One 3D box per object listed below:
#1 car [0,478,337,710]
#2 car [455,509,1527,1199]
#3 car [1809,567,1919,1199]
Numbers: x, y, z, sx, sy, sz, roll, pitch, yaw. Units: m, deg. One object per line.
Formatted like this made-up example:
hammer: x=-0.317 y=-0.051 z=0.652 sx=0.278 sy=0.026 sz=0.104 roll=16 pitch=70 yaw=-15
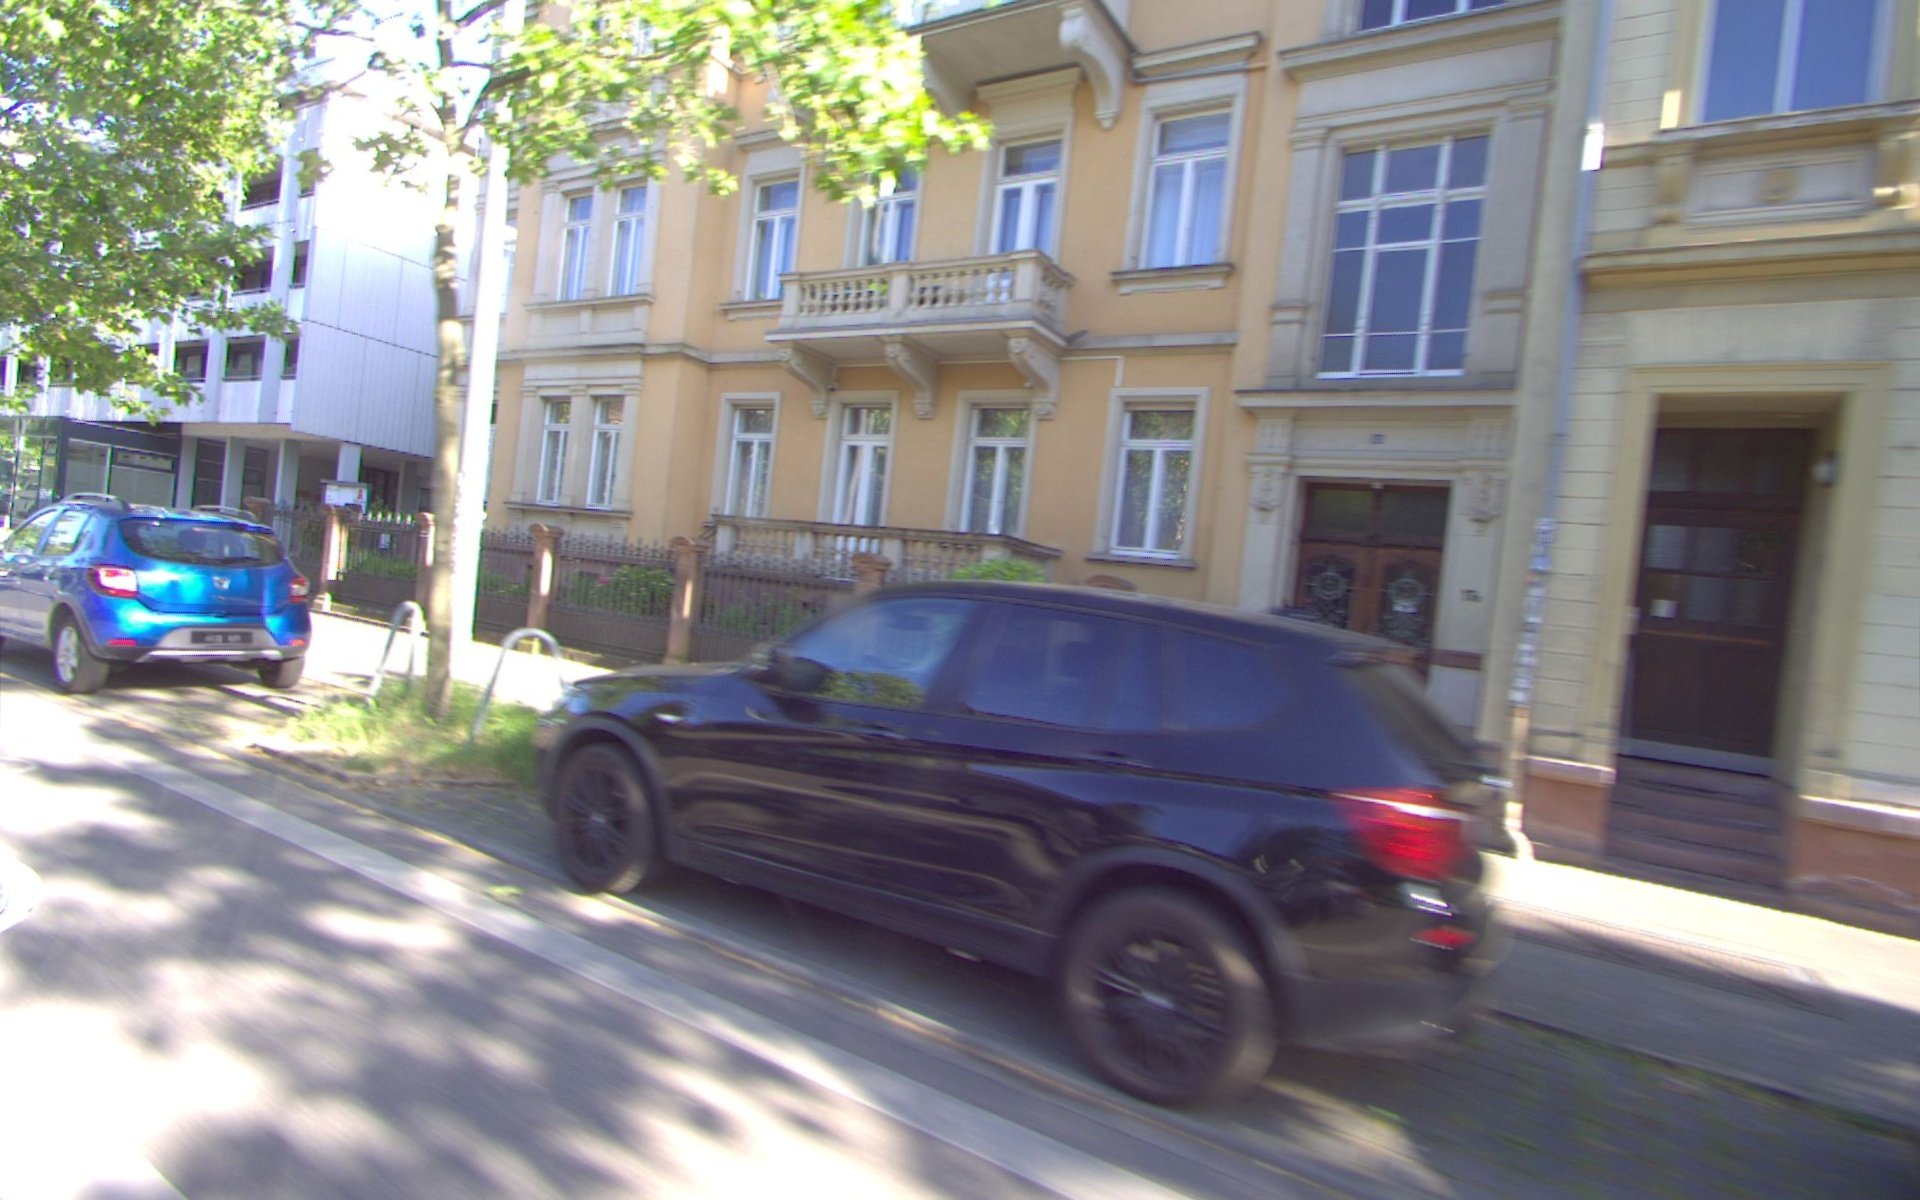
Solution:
car: x=-7.914 y=-0.143 z=9.547 sx=3.972 sy=1.678 sz=1.694 roll=8 pitch=1 yaw=32
car: x=-0.097 y=0.678 z=4.765 sx=4.659 sy=1.720 sz=1.800 roll=6 pitch=-1 yaw=32
car: x=4.763 y=1.088 z=1.711 sx=4.658 sy=1.989 sz=1.757 roll=7 pitch=0 yaw=32
